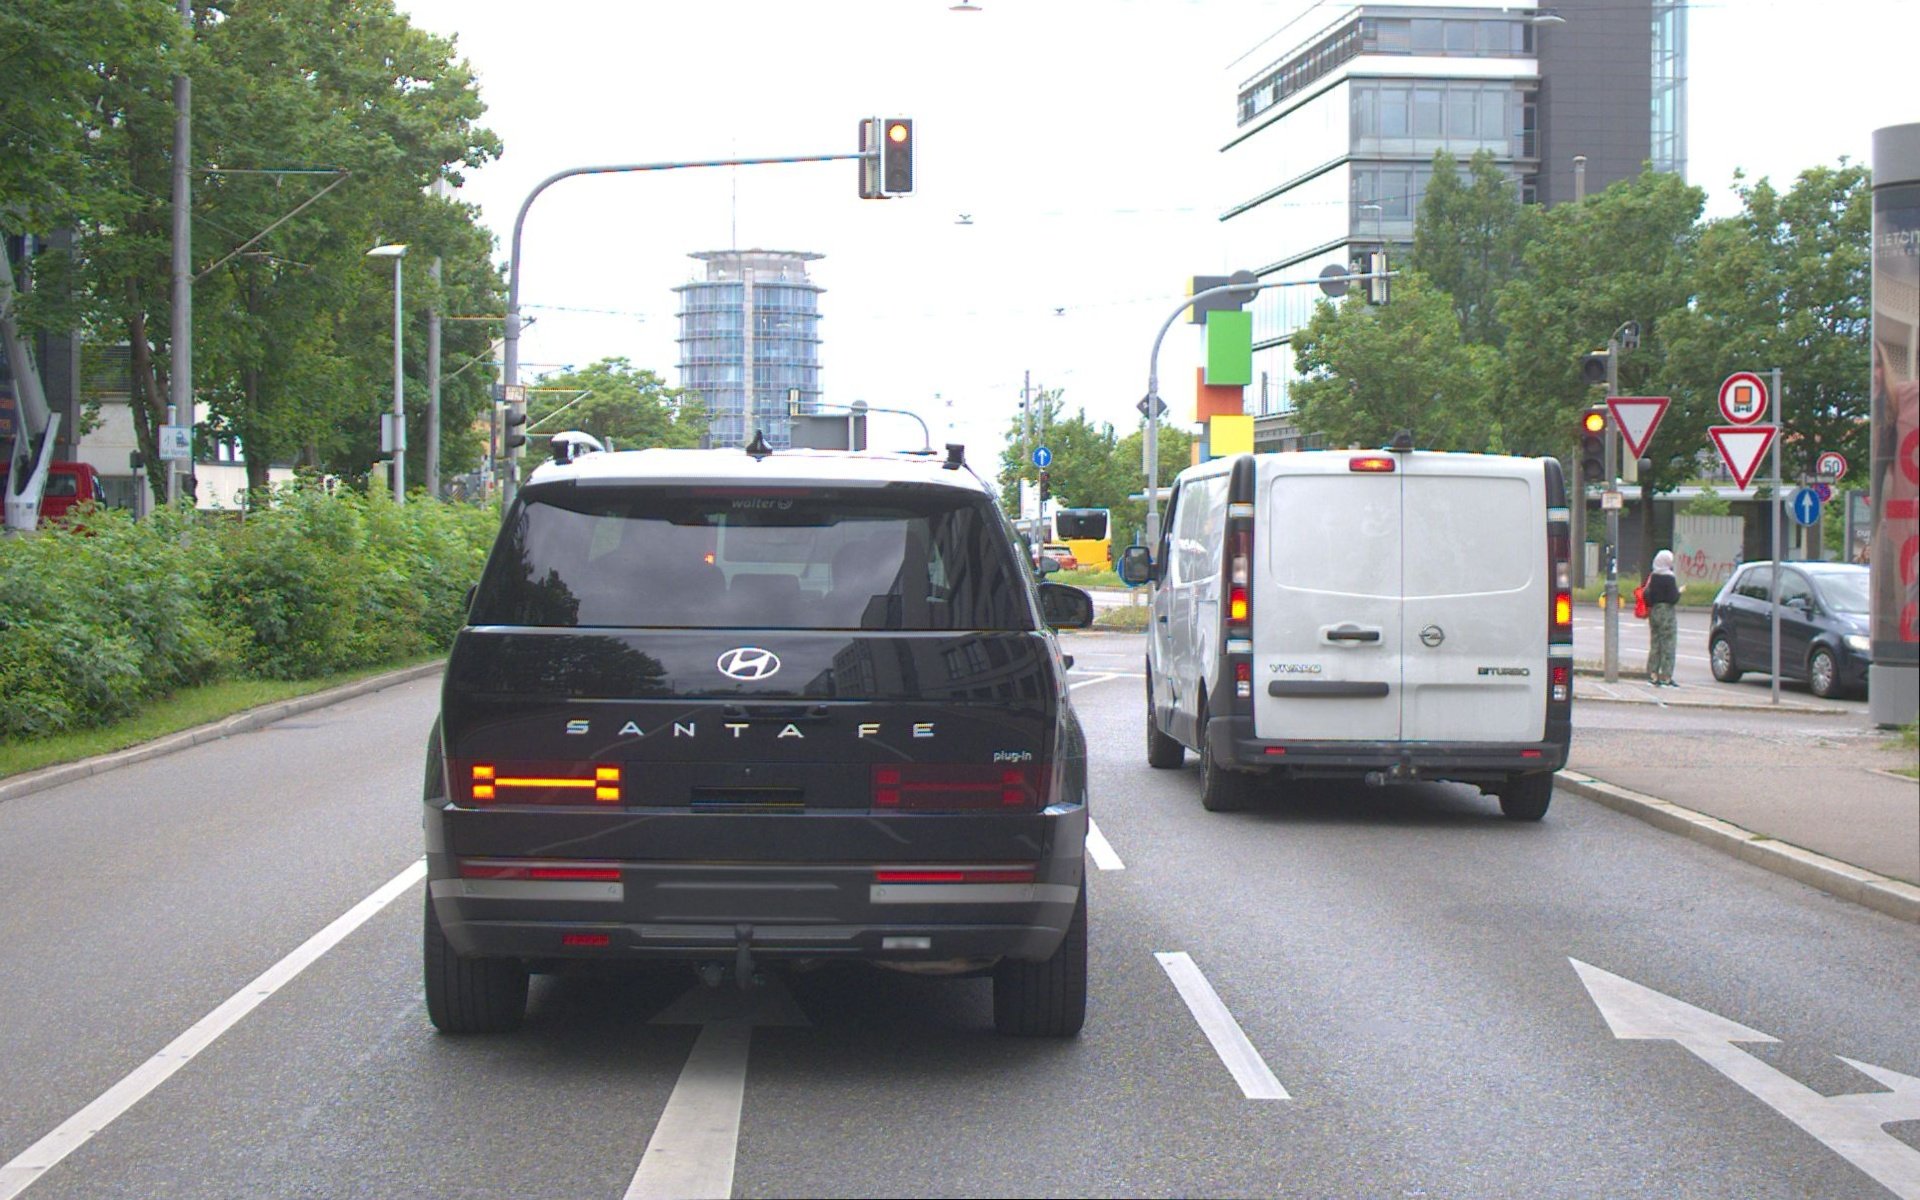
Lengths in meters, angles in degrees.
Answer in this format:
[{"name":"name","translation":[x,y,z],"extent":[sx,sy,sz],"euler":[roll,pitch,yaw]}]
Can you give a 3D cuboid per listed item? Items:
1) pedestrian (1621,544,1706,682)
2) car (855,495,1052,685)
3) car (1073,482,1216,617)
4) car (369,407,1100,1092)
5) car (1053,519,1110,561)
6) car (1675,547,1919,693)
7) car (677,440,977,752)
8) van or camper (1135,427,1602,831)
[{"name":"pedestrian","translation":[8.219,0.152,40.173],"extent":[0.738,1.579,0.573],"euler":[2,1,-41]},{"name":"car","translation":[-0.037,-0.108,33.662],"extent":[1.776,1.711,4.338],"euler":[1,0,1]},{"name":"car","translation":[2.854,-0.771,53.993],"extent":[1.993,2.007,4.000],"euler":[1,0,0]},{"name":"car","translation":[-0.620,0.355,10.799],"extent":[1.869,1.754,3.880],"euler":[0,1,-1]},{"name":"car","translation":[5.112,-2.517,145.502],"extent":[1.993,1.678,4.001],"euler":[1,0,-4]},{"name":"car","translation":[10.438,0.215,41.642],"extent":[1.698,1.678,3.791],"euler":[1,0,-20]},{"name":"car","translation":[-0.897,-0.057,24.029],"extent":[1.915,1.996,3.880],"euler":[0,1,-1]},{"name":"van or camper","translation":[2.187,0.108,19.726],"extent":[1.993,2.007,4.653],"euler":[1,1,-1]}]
